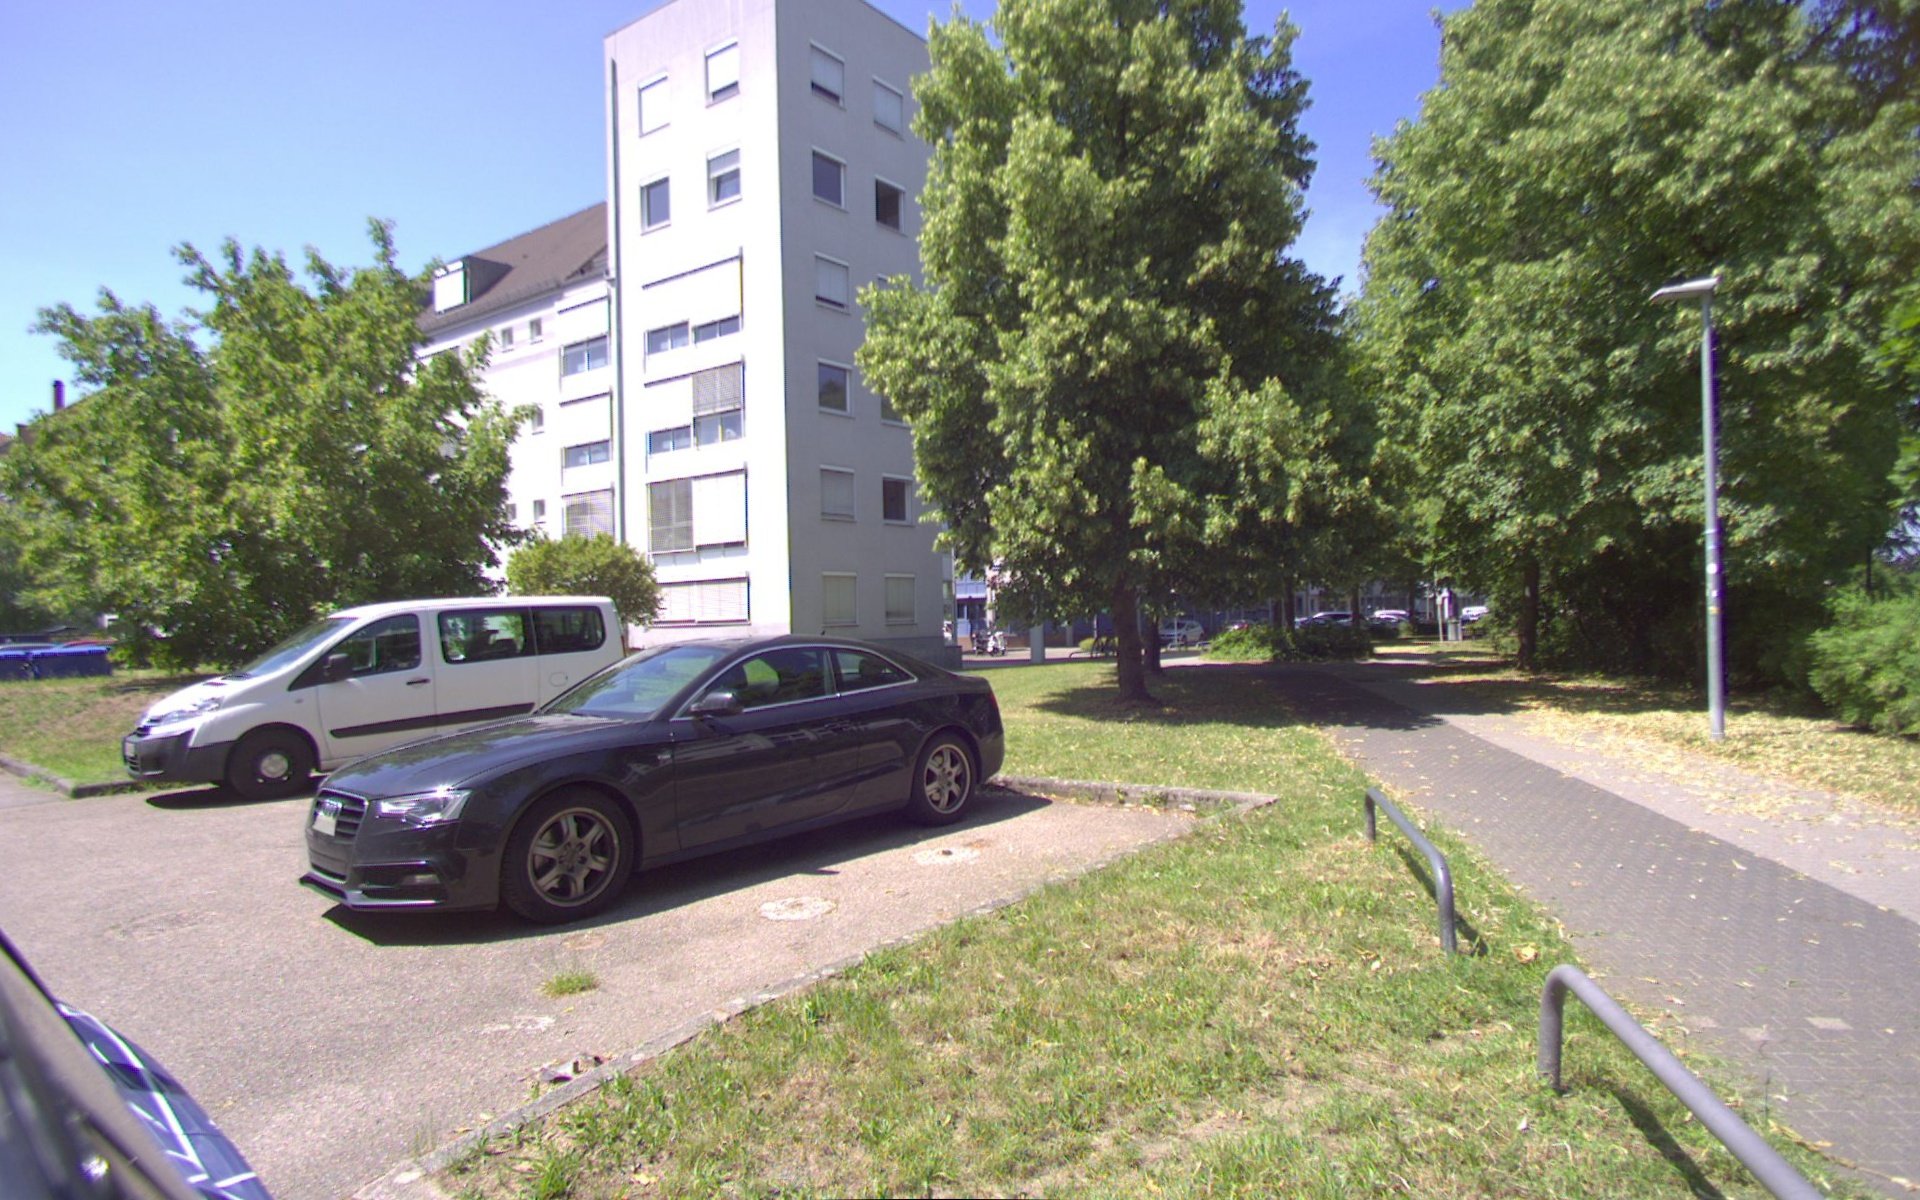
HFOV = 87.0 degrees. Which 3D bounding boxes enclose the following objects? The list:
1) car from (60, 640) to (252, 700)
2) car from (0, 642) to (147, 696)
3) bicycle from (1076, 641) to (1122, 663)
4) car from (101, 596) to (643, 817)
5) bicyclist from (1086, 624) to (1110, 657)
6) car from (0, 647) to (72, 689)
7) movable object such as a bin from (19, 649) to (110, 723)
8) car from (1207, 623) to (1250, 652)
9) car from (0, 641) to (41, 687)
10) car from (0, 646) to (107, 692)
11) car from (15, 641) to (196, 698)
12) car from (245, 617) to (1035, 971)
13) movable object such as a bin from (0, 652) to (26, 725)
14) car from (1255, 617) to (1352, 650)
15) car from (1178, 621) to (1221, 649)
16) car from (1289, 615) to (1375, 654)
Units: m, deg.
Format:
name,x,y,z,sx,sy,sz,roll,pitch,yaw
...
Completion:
name,x,y,z,sx,sy,sz,roll,pitch,yaw
car,-24.761,2.097,31.334,1.609,1.581,4.394,-2,-1,34
car,-30.248,2.284,34.119,1.609,1.581,4.175,-2,-1,34
bicycle,4.640,1.737,33.663,0.734,0.646,1.594,-6,-4,41
car,-6.219,0.938,11.190,2.067,1.898,4.796,-2,-1,42
bicyclist,4.588,1.344,33.632,0.518,1.053,0.515,-6,-5,42
car,-37.976,2.708,39.929,1.609,1.581,4.175,-2,-1,34
movable object such as a bin,-18.361,1.740,20.754,1.094,1.399,1.255,-2,-1,40
car,15.921,2.197,59.794,1.798,1.615,3.861,-2,-1,25
car,-40.605,2.654,41.359,2.005,1.837,4.175,-2,-1,34
car,-35.262,2.610,38.418,1.609,1.581,4.175,-2,-1,34
car,-27.318,2.166,32.484,1.609,1.581,4.175,-2,-1,34
car,-1.692,0.882,6.470,2.023,1.390,4.382,-5,-3,42
movable object such as a bin,-19.161,1.738,19.750,1.094,1.399,1.255,-2,-1,40
car,17.653,1.709,52.127,4.335,1.622,1.909,-2,-1,38
car,14.610,2.095,61.734,1.798,1.615,3.861,-2,-1,25
car,20.157,1.857,54.890,3.995,2.029,1.974,-2,-1,38
